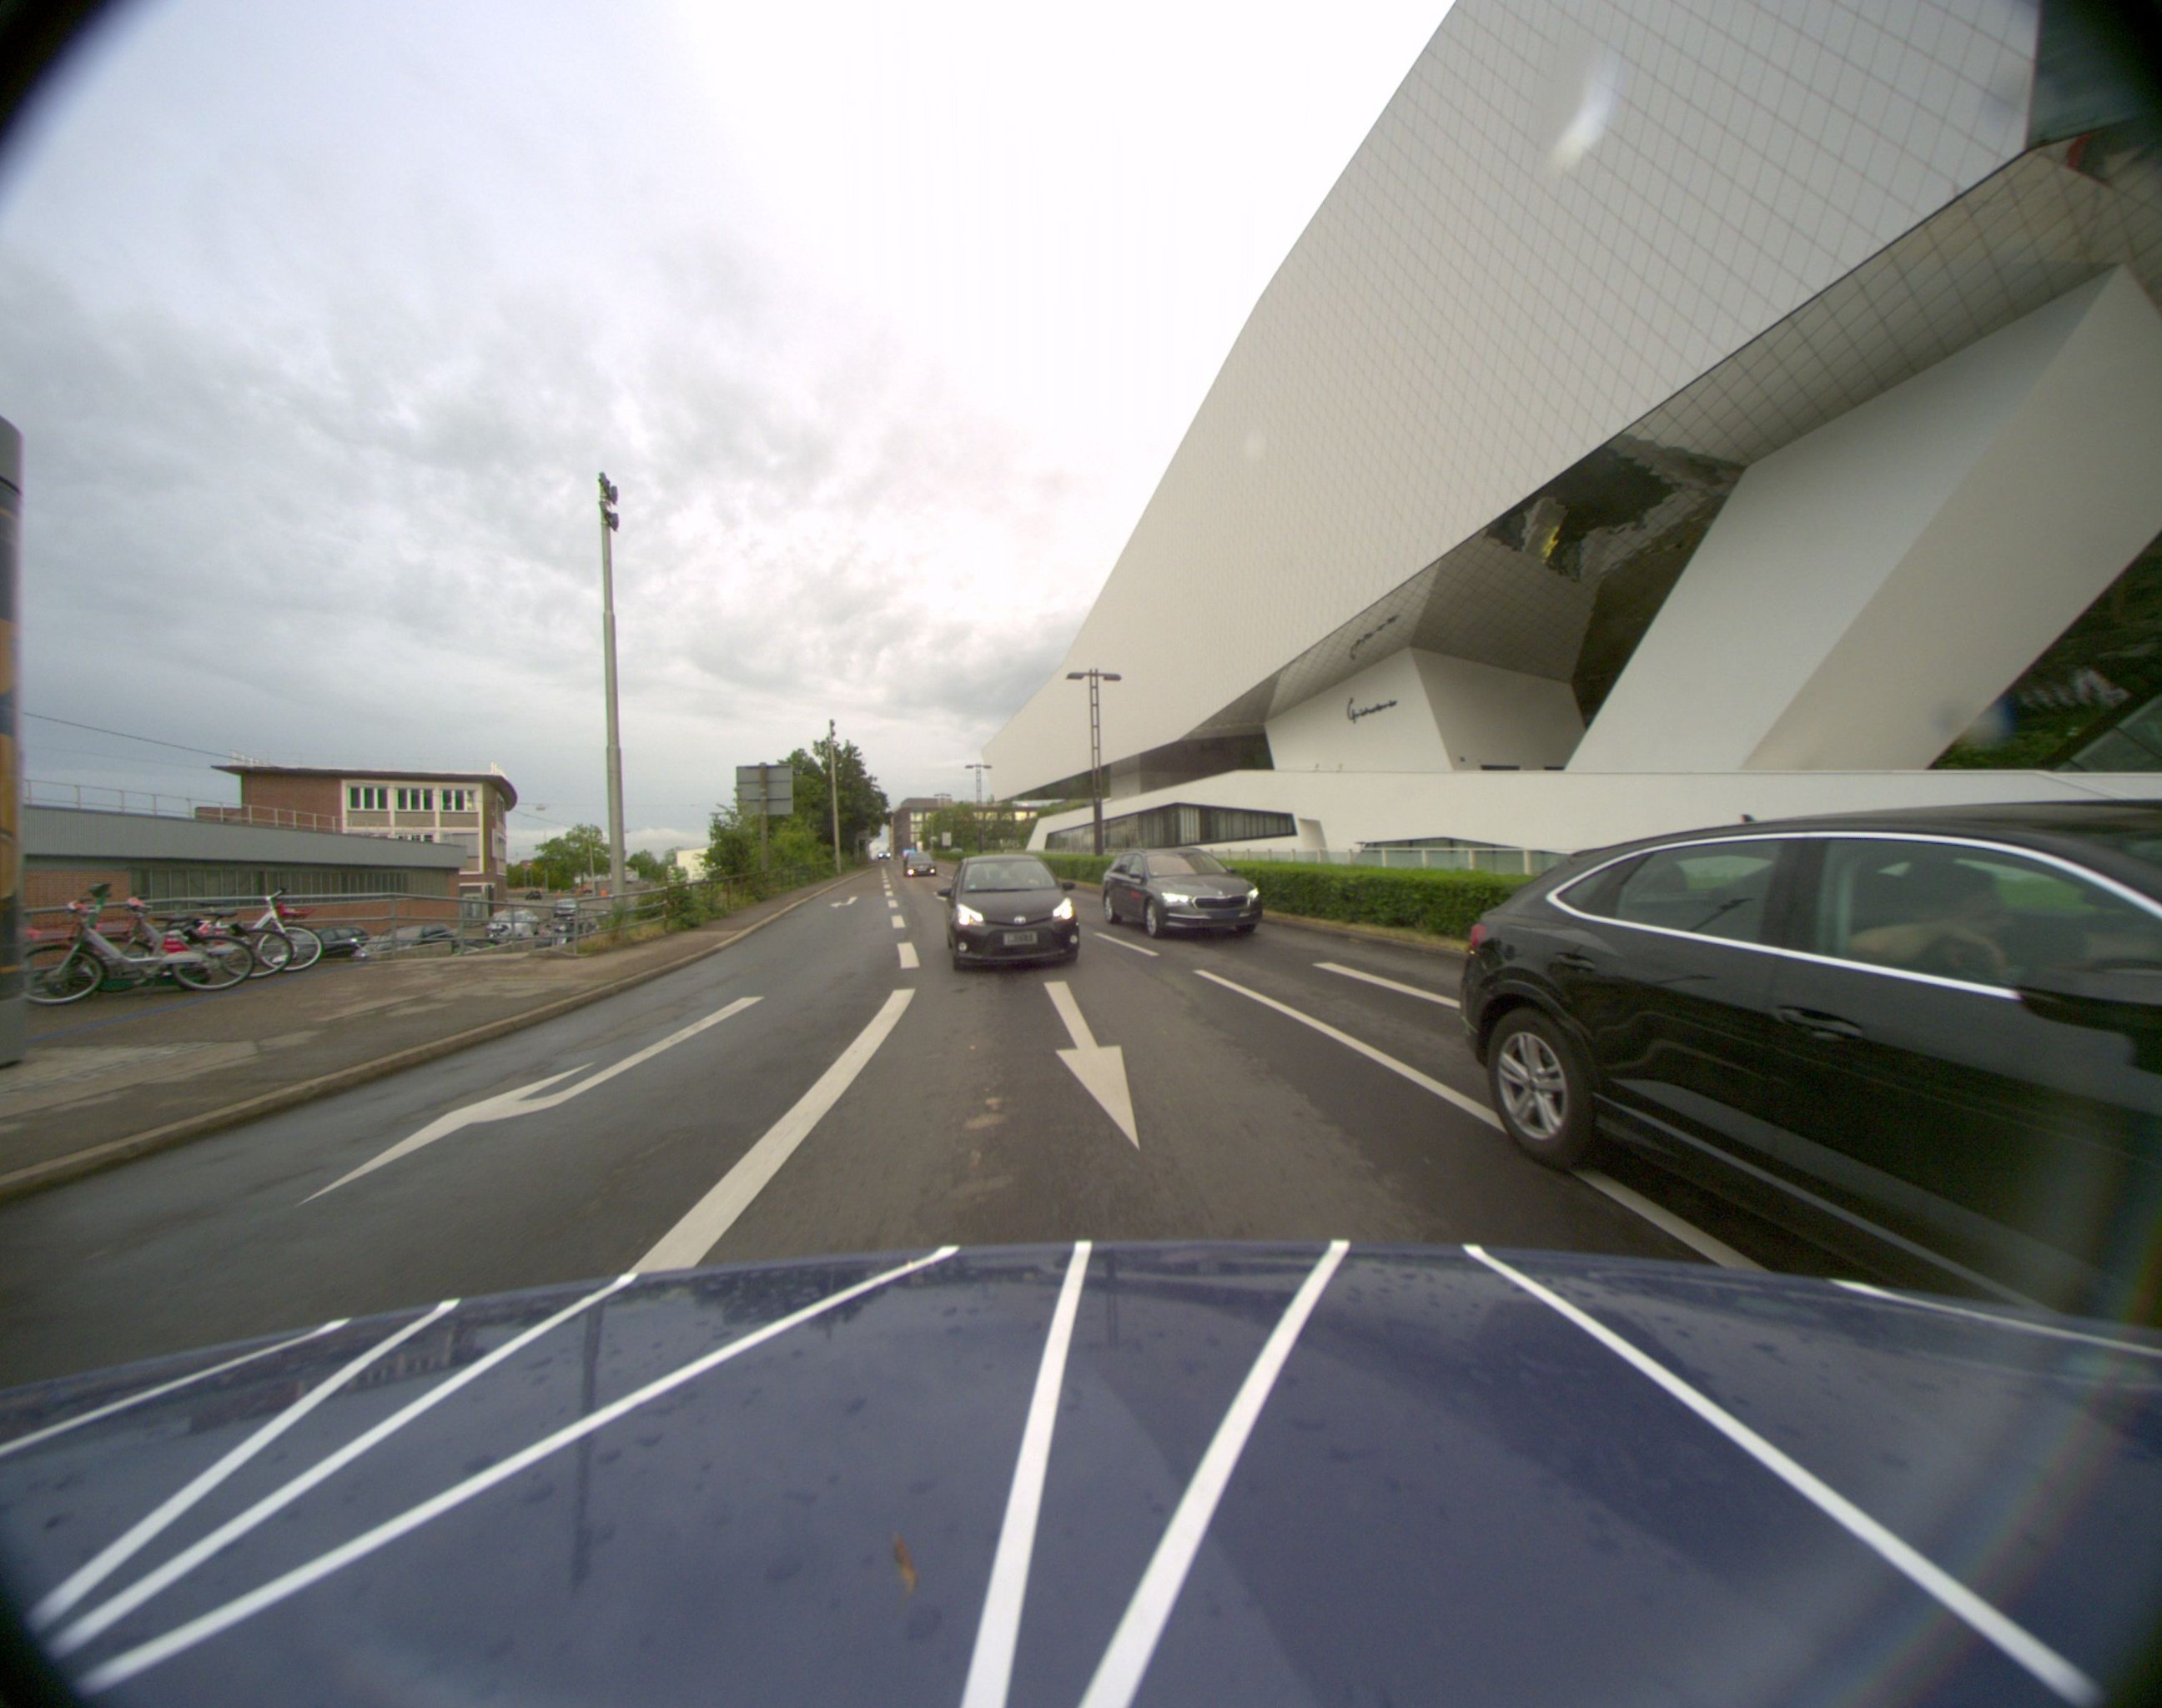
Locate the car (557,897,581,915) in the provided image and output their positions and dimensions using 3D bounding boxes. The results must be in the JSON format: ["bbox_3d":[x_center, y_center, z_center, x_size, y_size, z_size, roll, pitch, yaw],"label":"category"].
[{"bbox_3d":[-45.887,4.615,68.137,1.723,1.417,3.991,-3,0,-34],"label":"car"}]

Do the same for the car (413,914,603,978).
[{"bbox_3d":[-16.005,2.559,21.364,3.997,1.417,1.721,-3,0,1],"label":"car"}]

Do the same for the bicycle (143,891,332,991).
[{"bbox_3d":[-10.867,1.090,9.860,1.547,1.149,0.450,-1,2,-30],"label":"bicycle"}]

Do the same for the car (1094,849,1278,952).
[{"bbox_3d":[1.657,0.670,13.593,1.818,1.430,4.297,-3,1,-12],"label":"car"}]

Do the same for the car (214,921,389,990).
[{"bbox_3d":[-25.895,3.306,25.518,1.784,1.657,4.501,-3,0,-11],"label":"car"}]

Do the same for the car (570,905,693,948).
[{"bbox_3d":[-18.507,2.975,31.403,3.997,1.417,1.721,-3,0,1],"label":"car"}]

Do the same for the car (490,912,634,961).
[{"bbox_3d":[-18.848,2.991,27.710,3.997,1.417,1.721,-3,0,1],"label":"car"}]

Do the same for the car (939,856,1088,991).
[{"bbox_3d":[-1.172,0.843,11.298,1.695,1.499,4.006,-3,1,-11],"label":"car"}]

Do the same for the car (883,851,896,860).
[{"bbox_3d":[-32.415,0.291,128.470,1.820,1.430,4.296,-1,-1,-19],"label":"car"}]

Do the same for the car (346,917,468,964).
[{"bbox_3d":[-27.434,3.474,31.138,1.721,1.396,4.271,-3,0,-11],"label":"car"}]

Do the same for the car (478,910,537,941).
[{"bbox_3d":[-32.750,4.047,43.478,1.735,1.380,3.993,-3,0,-24],"label":"car"}]

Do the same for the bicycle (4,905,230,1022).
[{"bbox_3d":[-10.515,1.157,8.366,1.465,1.068,0.442,-2,3,-44],"label":"bicycle"}]

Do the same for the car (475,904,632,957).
[{"bbox_3d":[-17.563,2.532,25.405,3.997,1.417,1.721,-3,0,1],"label":"car"}]

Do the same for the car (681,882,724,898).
[{"bbox_3d":[-41.154,3.885,82.648,4.005,1.417,1.717,-3,0,-27],"label":"car"}]

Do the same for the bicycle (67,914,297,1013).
[{"bbox_3d":[-10.574,1.249,9.025,0.485,0.916,1.708,0,2,41],"label":"bicycle"}]

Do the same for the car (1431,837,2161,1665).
[{"bbox_3d":[2.887,0.749,1.910,1.757,1.509,4.392,-3,1,-3],"label":"car"}]

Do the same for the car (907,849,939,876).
[{"bbox_3d":[-9.574,0.470,46.036,1.750,1.466,4.063,-3,1,-12],"label":"car"}]
